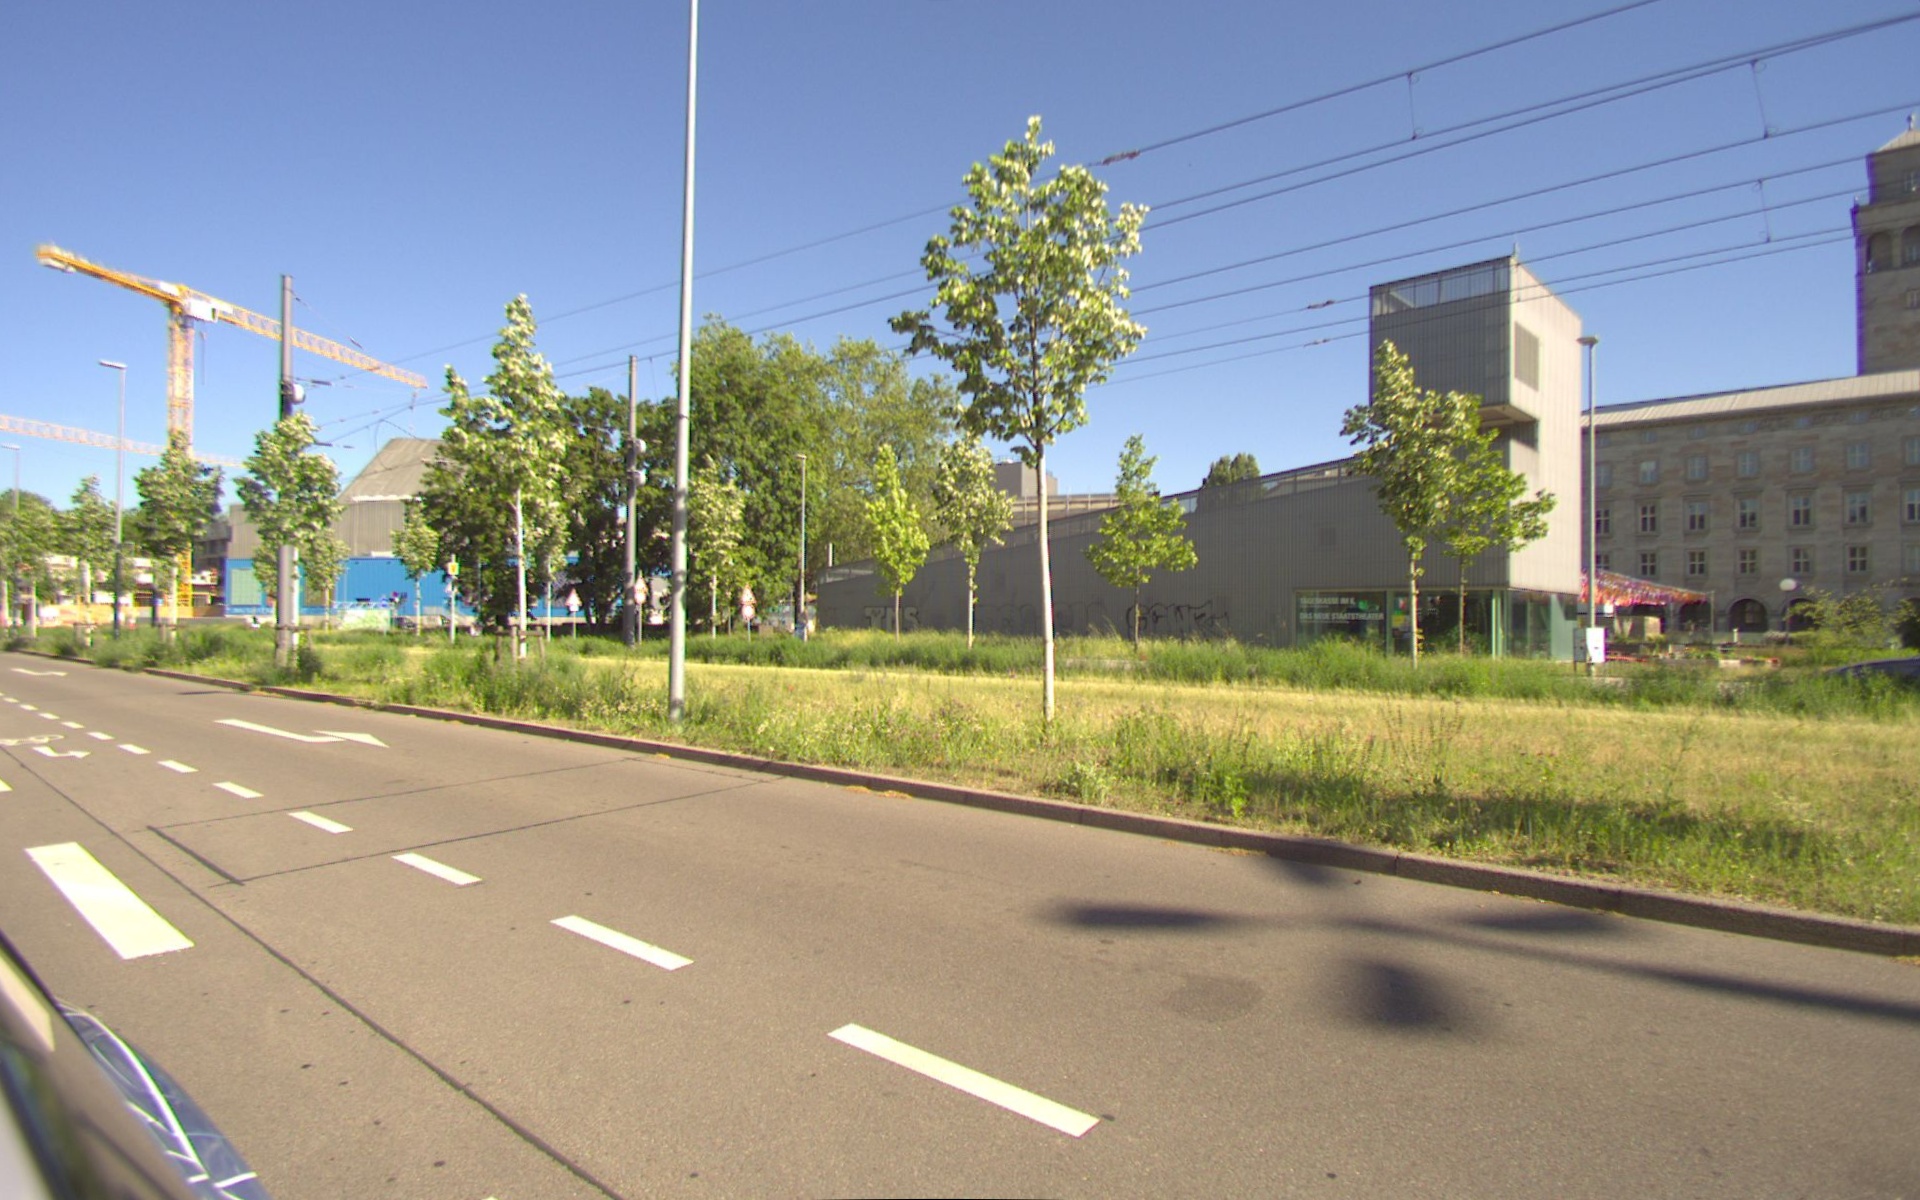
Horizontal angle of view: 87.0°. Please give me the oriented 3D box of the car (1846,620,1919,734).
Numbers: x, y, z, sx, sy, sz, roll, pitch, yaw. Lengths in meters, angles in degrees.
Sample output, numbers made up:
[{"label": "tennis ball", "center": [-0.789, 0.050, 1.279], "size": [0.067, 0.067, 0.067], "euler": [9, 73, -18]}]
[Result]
[{"label": "car", "center": [15.795, 1.137, 14.872], "size": [4.092, 1.702, 1.805], "euler": [-1, -2, 43]}]

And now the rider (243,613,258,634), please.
[{"label": "rider", "center": [-50.734, 1.667, 72.408], "size": [0.631, 1.534, 0.715], "euler": [-1, -1, 38]}]
